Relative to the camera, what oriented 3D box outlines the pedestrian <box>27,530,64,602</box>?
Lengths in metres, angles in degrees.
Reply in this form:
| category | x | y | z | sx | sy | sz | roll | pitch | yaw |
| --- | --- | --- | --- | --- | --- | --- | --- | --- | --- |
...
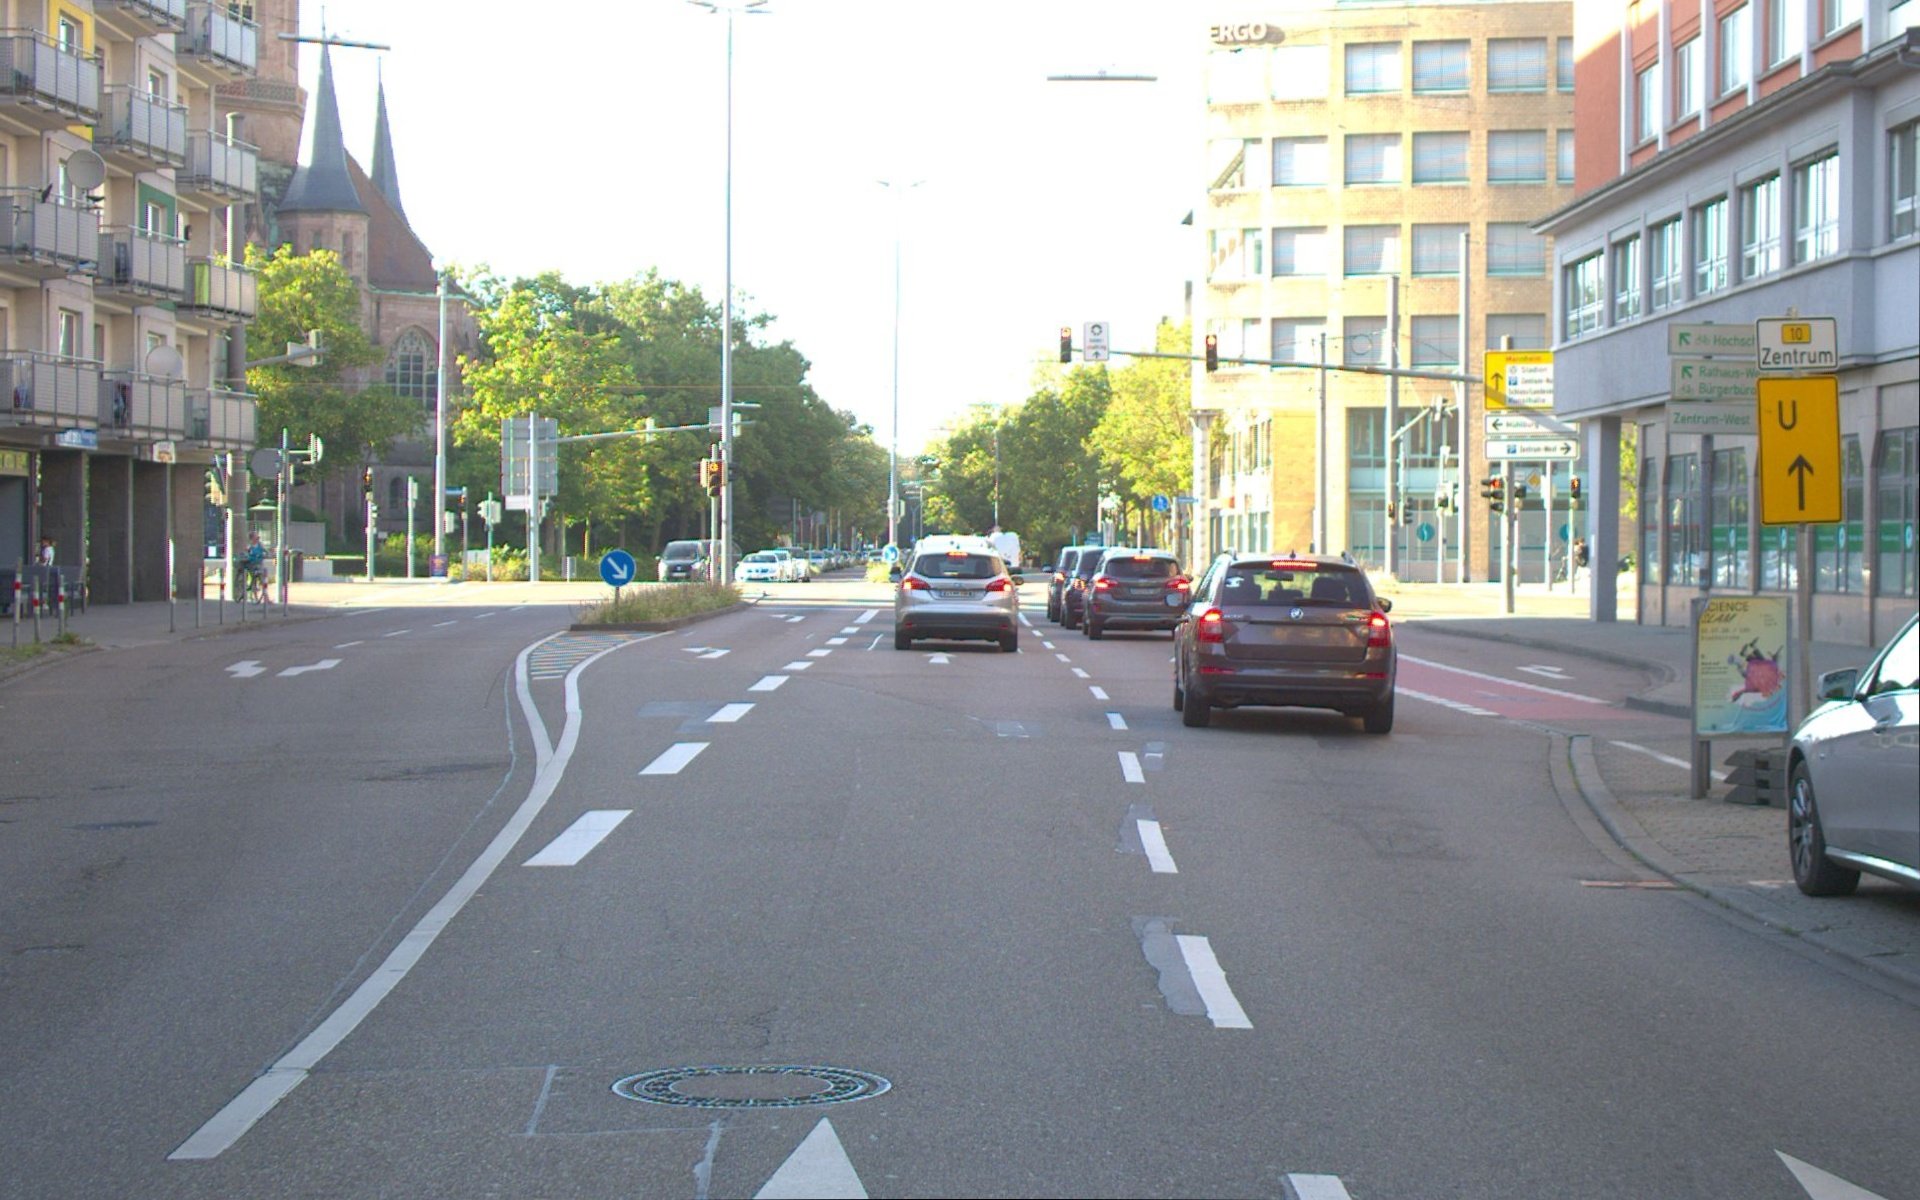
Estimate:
| category | x | y | z | sx | sy | sz | roll | pitch | yaw |
| --- | --- | --- | --- | --- | --- | --- | --- | --- | --- |
| pedestrian | -17.734 | -0.661 | 66.667 | 0.484 | 1.379 | 0.481 | 1 | 1 | 20 |

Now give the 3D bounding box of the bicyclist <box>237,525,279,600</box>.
| category | x | y | z | sx | sy | sz | roll | pitch | yaw |
| --- | --- | --- | --- | --- | --- | --- | --- | --- | --- |
| bicyclist | -15.723 | -0.844 | 77.025 | 0.782 | 1.654 | 0.901 | 1 | 1 | -2 |

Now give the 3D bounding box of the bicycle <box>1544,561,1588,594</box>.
| category | x | y | z | sx | sy | sz | roll | pitch | yaw |
| --- | --- | --- | --- | --- | --- | --- | --- | --- | --- |
| bicycle | 21.693 | -0.798 | 123.124 | 1.520 | 1.168 | 0.475 | 0 | 1 | 7 |

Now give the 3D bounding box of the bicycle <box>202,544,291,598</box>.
| category | x | y | z | sx | sy | sz | roll | pitch | yaw |
| --- | --- | --- | --- | --- | --- | --- | --- | --- | --- |
| bicycle | -15.826 | -0.641 | 76.266 | 1.827 | 1.184 | 0.734 | 0 | 1 | -1 |

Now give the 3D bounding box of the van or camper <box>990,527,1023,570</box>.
| category | x | y | z | sx | sy | sz | roll | pitch | yaw |
| --- | --- | --- | --- | --- | --- | --- | --- | --- | --- |
| van or camper | 2.916 | -3.212 | 214.736 | 1.993 | 2.631 | 5.350 | 0 | 1 | 1 |

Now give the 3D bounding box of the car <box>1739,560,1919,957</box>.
| category | x | y | z | sx | sy | sz | roll | pitch | yaw |
| --- | --- | --- | --- | --- | --- | --- | --- | --- | --- |
| car | 4.677 | 0.603 | 14.279 | 1.856 | 1.507 | 4.834 | -1 | 1 | 1 |

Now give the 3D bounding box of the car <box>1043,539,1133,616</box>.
| category | x | y | z | sx | sy | sz | roll | pitch | yaw |
| --- | --- | --- | --- | --- | --- | --- | --- | --- | --- |
| car | 2.535 | -0.475 | 68.734 | 1.584 | 1.442 | 3.648 | 2 | 1 | 0 |

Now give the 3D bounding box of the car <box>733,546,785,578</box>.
| category | x | y | z | sx | sy | sz | roll | pitch | yaw |
| --- | --- | --- | --- | --- | --- | --- | --- | --- | --- |
| car | -7.896 | -1.502 | 135.221 | 1.780 | 1.232 | 4.000 | 0 | 1 | 0 |

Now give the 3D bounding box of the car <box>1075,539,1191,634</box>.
| category | x | y | z | sx | sy | sz | roll | pitch | yaw |
| --- | --- | --- | --- | --- | --- | --- | --- | --- | --- |
| car | 2.844 | -0.252 | 57.202 | 1.650 | 1.479 | 4.239 | 1 | 1 | 0 |

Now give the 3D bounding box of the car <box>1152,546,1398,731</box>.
| category | x | y | z | sx | sy | sz | roll | pitch | yaw |
| --- | --- | --- | --- | --- | --- | --- | --- | --- | --- |
| car | 2.618 | 0.275 | 29.420 | 1.707 | 1.452 | 4.159 | 0 | 1 | 0 |

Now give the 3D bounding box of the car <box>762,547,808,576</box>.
| category | x | y | z | sx | sy | sz | roll | pitch | yaw |
| --- | --- | --- | --- | --- | --- | --- | --- | --- | --- |
| car | -7.688 | -1.715 | 151.356 | 1.780 | 1.232 | 4.000 | 0 | 1 | 0 |

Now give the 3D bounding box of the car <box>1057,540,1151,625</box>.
| category | x | y | z | sx | sy | sz | roll | pitch | yaw |
| --- | --- | --- | --- | --- | --- | --- | --- | --- | --- |
| car | 2.618 | -0.350 | 63.180 | 1.489 | 1.500 | 3.479 | 0 | 1 | -1 |

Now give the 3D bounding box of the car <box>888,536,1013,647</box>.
| category | x | y | z | sx | sy | sz | roll | pitch | yaw |
| --- | --- | --- | --- | --- | --- | --- | --- | --- | --- |
| car | -0.141 | -0.154 | 50.194 | 1.707 | 1.504 | 4.309 | 1 | 1 | 0 |

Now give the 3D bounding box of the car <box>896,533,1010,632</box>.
| category | x | y | z | sx | sy | sz | roll | pitch | yaw |
| --- | --- | --- | --- | --- | --- | --- | --- | --- | --- |
| car | -0.144 | -0.318 | 56.666 | 1.803 | 1.563 | 3.619 | 0 | 1 | -1 |

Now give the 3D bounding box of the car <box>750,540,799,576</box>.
| category | x | y | z | sx | sy | sz | roll | pitch | yaw |
| --- | --- | --- | --- | --- | --- | --- | --- | --- | --- |
| car | -7.631 | -1.747 | 141.791 | 1.780 | 1.459 | 4.000 | 0 | 1 | 0 |

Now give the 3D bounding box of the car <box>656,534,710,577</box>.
| category | x | y | z | sx | sy | sz | roll | pitch | yaw |
| --- | --- | --- | --- | --- | --- | --- | --- | --- | --- |
| car | -10.926 | -1.781 | 135.781 | 1.780 | 1.641 | 4.000 | 0 | 1 | 0 |
